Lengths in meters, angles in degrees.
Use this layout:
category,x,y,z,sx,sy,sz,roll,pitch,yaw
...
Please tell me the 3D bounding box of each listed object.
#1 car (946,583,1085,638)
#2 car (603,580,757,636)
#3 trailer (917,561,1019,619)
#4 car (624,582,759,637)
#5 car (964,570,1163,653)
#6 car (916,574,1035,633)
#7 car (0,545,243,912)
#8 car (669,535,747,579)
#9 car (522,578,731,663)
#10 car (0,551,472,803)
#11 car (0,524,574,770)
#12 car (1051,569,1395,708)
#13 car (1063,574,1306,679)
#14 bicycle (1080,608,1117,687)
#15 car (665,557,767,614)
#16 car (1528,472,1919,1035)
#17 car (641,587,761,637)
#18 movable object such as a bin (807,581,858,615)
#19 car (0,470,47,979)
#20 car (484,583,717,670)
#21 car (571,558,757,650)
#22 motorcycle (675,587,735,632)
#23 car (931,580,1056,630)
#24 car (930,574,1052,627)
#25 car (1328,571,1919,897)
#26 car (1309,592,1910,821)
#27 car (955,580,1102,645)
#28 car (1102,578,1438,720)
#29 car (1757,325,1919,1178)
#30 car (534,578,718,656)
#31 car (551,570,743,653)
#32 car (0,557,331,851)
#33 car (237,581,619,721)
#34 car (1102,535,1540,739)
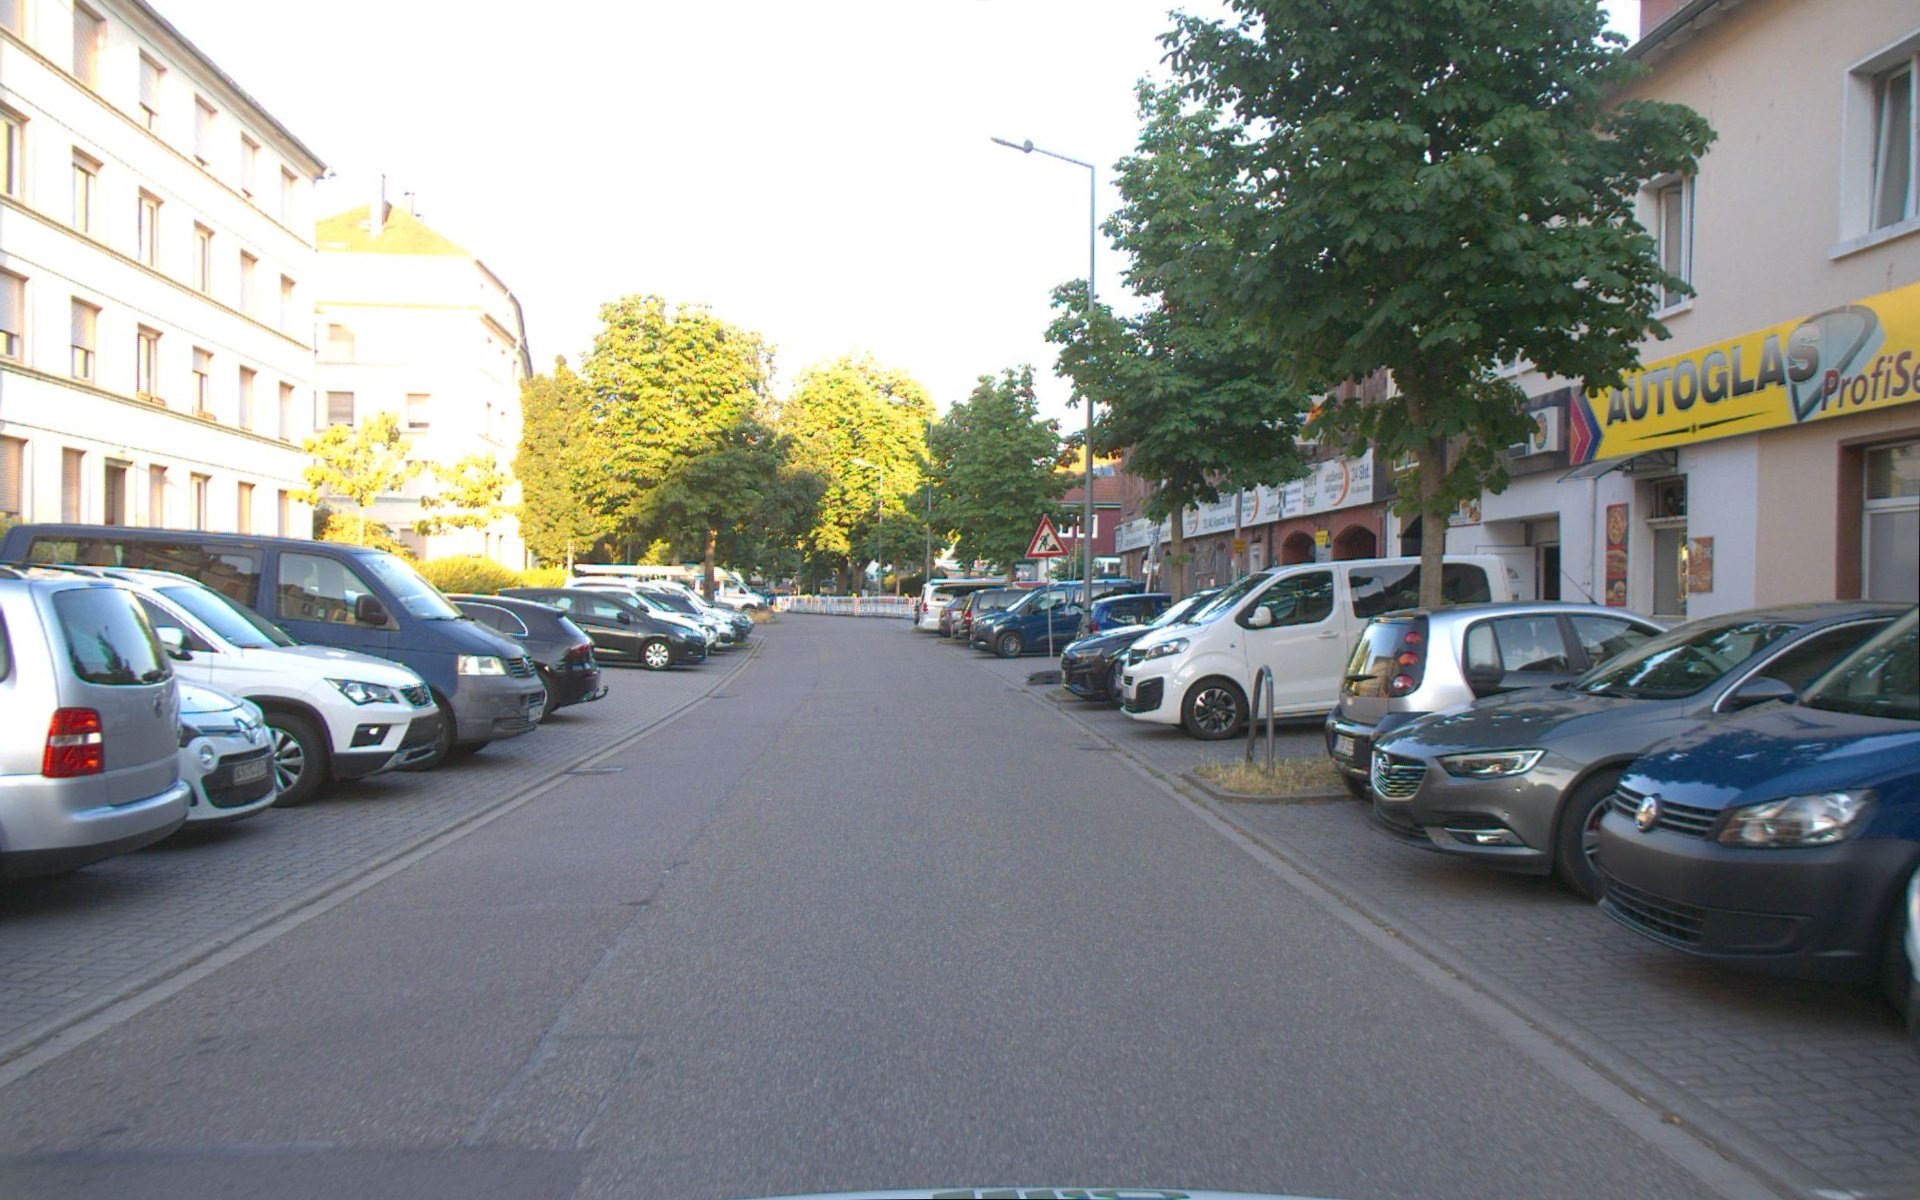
category,x,y,z,sx,sy,sz,roll,pitch,yaw
car,1.632,0.309,49.458,3.872,1.592,1.817,1,0,-9
car,-8.237,0.234,48.884,4.240,1.430,1.850,2,0,-3
trailer,0.292,-0.396,66.304,3.909,2.226,1.998,1,0,-5
car,-8.223,0.288,50.944,3.907,1.611,1.728,1,0,-3
car,2.564,0.268,41.715,4.694,1.784,2.015,-3,1,-5
car,0.494,0.129,56.884,3.910,1.937,1.998,1,0,-6
car,-5.799,0.564,7.998,3.916,1.616,2.047,0,0,-12
car,-14.990,-2.544,98.315,4.423,2.473,1.994,1,0,-12
car,-7.172,0.433,35.902,4.160,1.649,1.812,2,0,-4
car,-5.997,0.530,12.471,4.102,1.753,1.901,0,0,-3
car,-6.138,0.378,15.073,4.755,2.090,2.000,0,1,0
car,3.746,0.525,24.153,4.601,1.659,1.999,-3,1,-2
car,3.909,0.448,29.183,3.908,1.572,1.843,-3,0,-4
bicycle,2.217,0.740,26.613,0.302,1.213,1.761,1,0,-4
car,-11.645,-0.676,79.257,4.637,2.614,1.999,1,0,-4
car,4.736,0.458,6.622,4.204,1.890,2.000,-2,0,0
car,-8.354,0.377,53.520,3.639,1.532,1.689,1,0,-3
movable object such as a bin,-9.577,-0.170,124.089,2.588,2.445,5.169,1,0,-19
car,-5.650,0.452,5.527,4.094,1.929,1.897,1,0,-3
car,-7.144,0.517,33.220,4.323,1.477,1.825,3,0,-6
car,-7.724,0.079,43.463,4.421,2.106,2.000,3,1,-1
motorcycle,-8.493,0.313,55.161,1.949,1.461,0.720,1,0,-10
car,1.060,0.159,53.993,3.909,1.536,1.774,1,0,-5
car,1.100,0.032,59.515,4.217,1.831,1.902,1,0,-5
car,4.650,0.627,9.336,4.628,1.522,1.998,-2,0,-4
car,4.578,0.702,11.975,3.711,1.523,1.679,0,0,-5
car,1.912,0.340,47.079,3.910,1.647,1.893,-2,0,-6
car,3.941,0.601,21.478,3.907,1.522,1.891,-4,0,-2
car,4.835,0.400,3.929,4.858,2.138,2.151,1,-1,1
car,-7.692,0.379,38.401,3.910,1.510,1.754,4,0,-5
car,-7.647,0.275,40.757,4.333,1.833,1.943,2,0,-2
car,-6.145,0.578,10.123,3.908,1.646,1.796,0,0,-3
car,-6.272,0.592,19.918,4.060,1.441,1.735,3,0,-8
car,4.060,0.400,19.157,4.496,1.894,2.011,-4,0,-2
